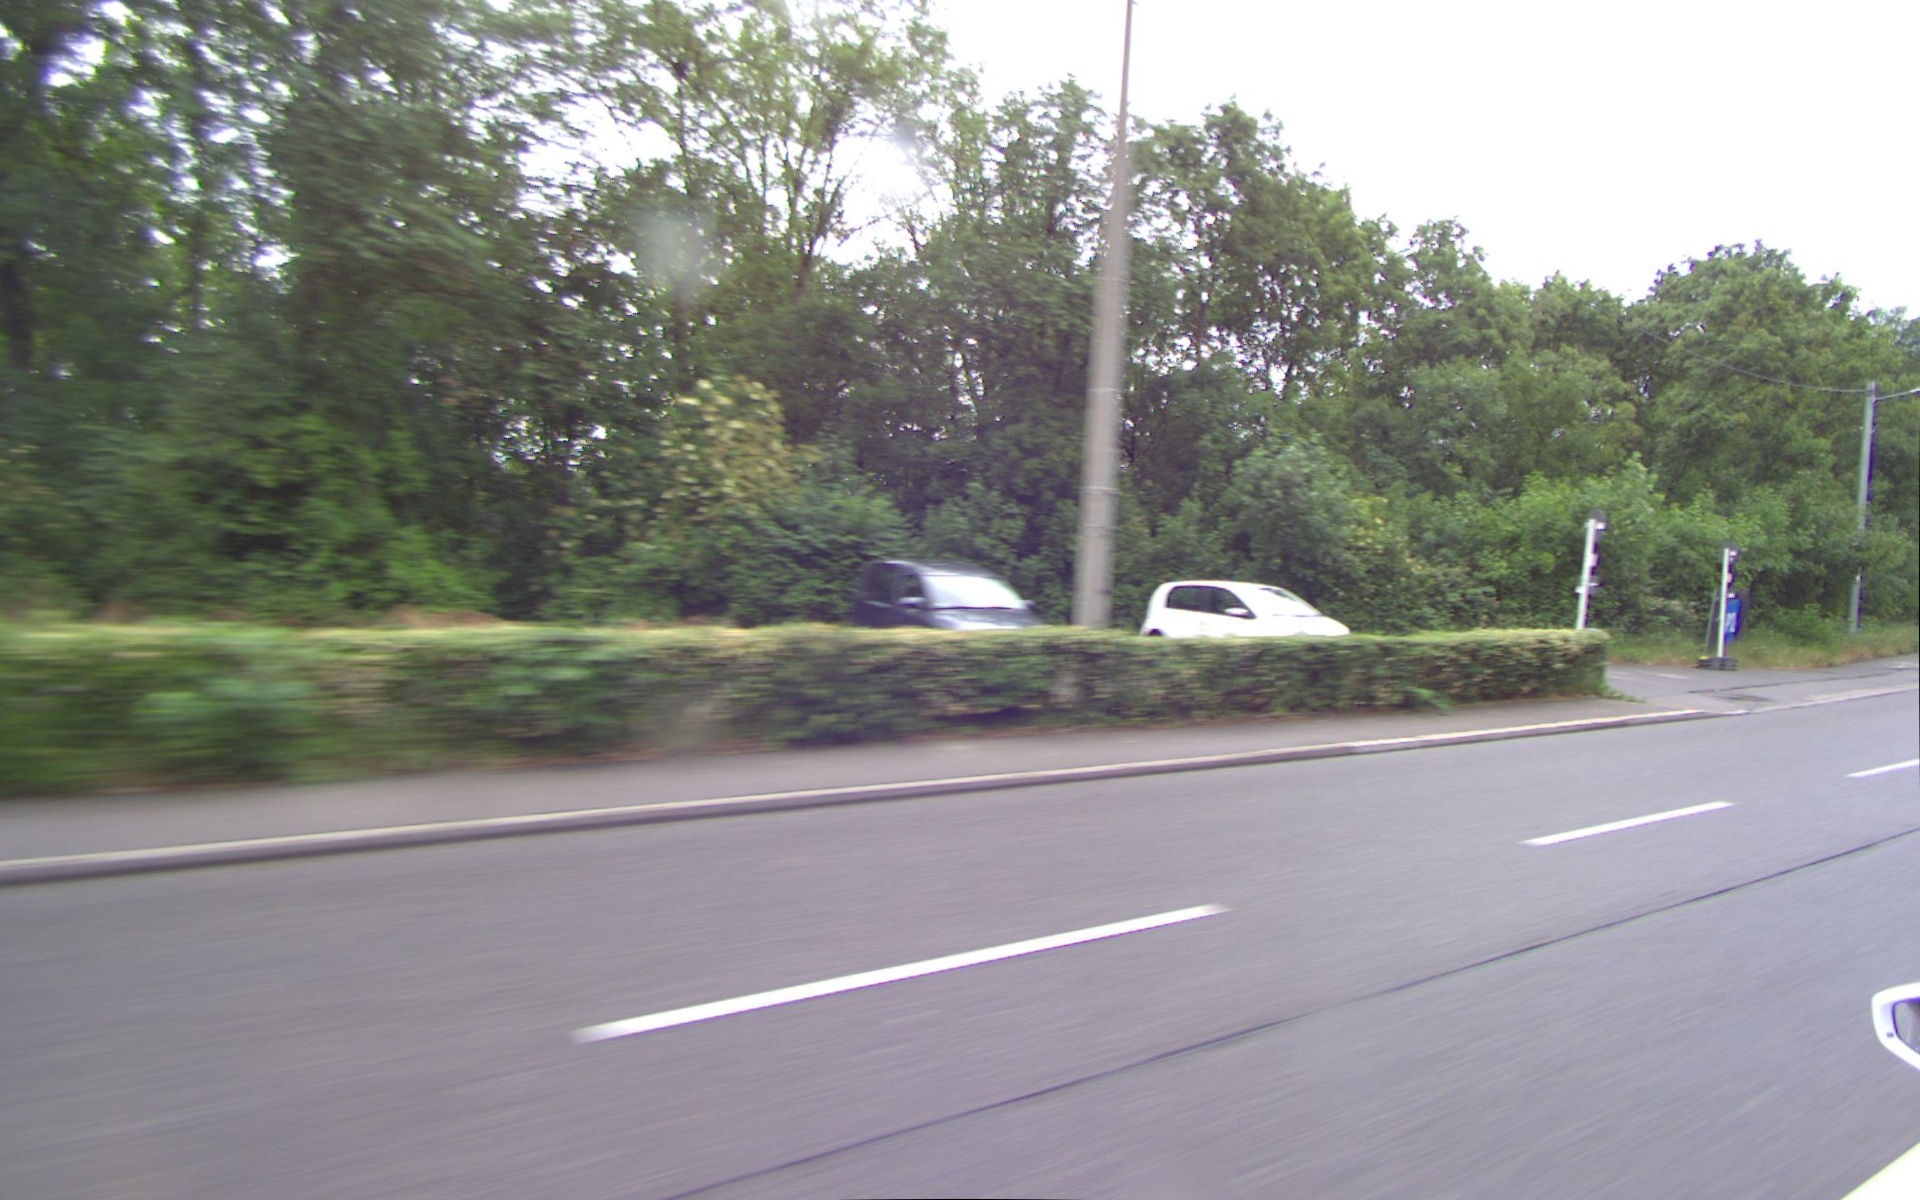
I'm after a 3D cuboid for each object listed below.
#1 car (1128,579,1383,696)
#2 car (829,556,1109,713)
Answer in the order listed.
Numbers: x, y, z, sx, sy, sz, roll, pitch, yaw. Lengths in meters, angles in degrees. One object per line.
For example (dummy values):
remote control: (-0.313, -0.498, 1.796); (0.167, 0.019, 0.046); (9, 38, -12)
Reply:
car: (4.677, 0.521, 16.347); (1.832, 1.612, 3.622); (1, 1, -33)
car: (-0.084, 0.337, 13.415); (1.974, 1.731, 4.275); (1, 1, -27)
